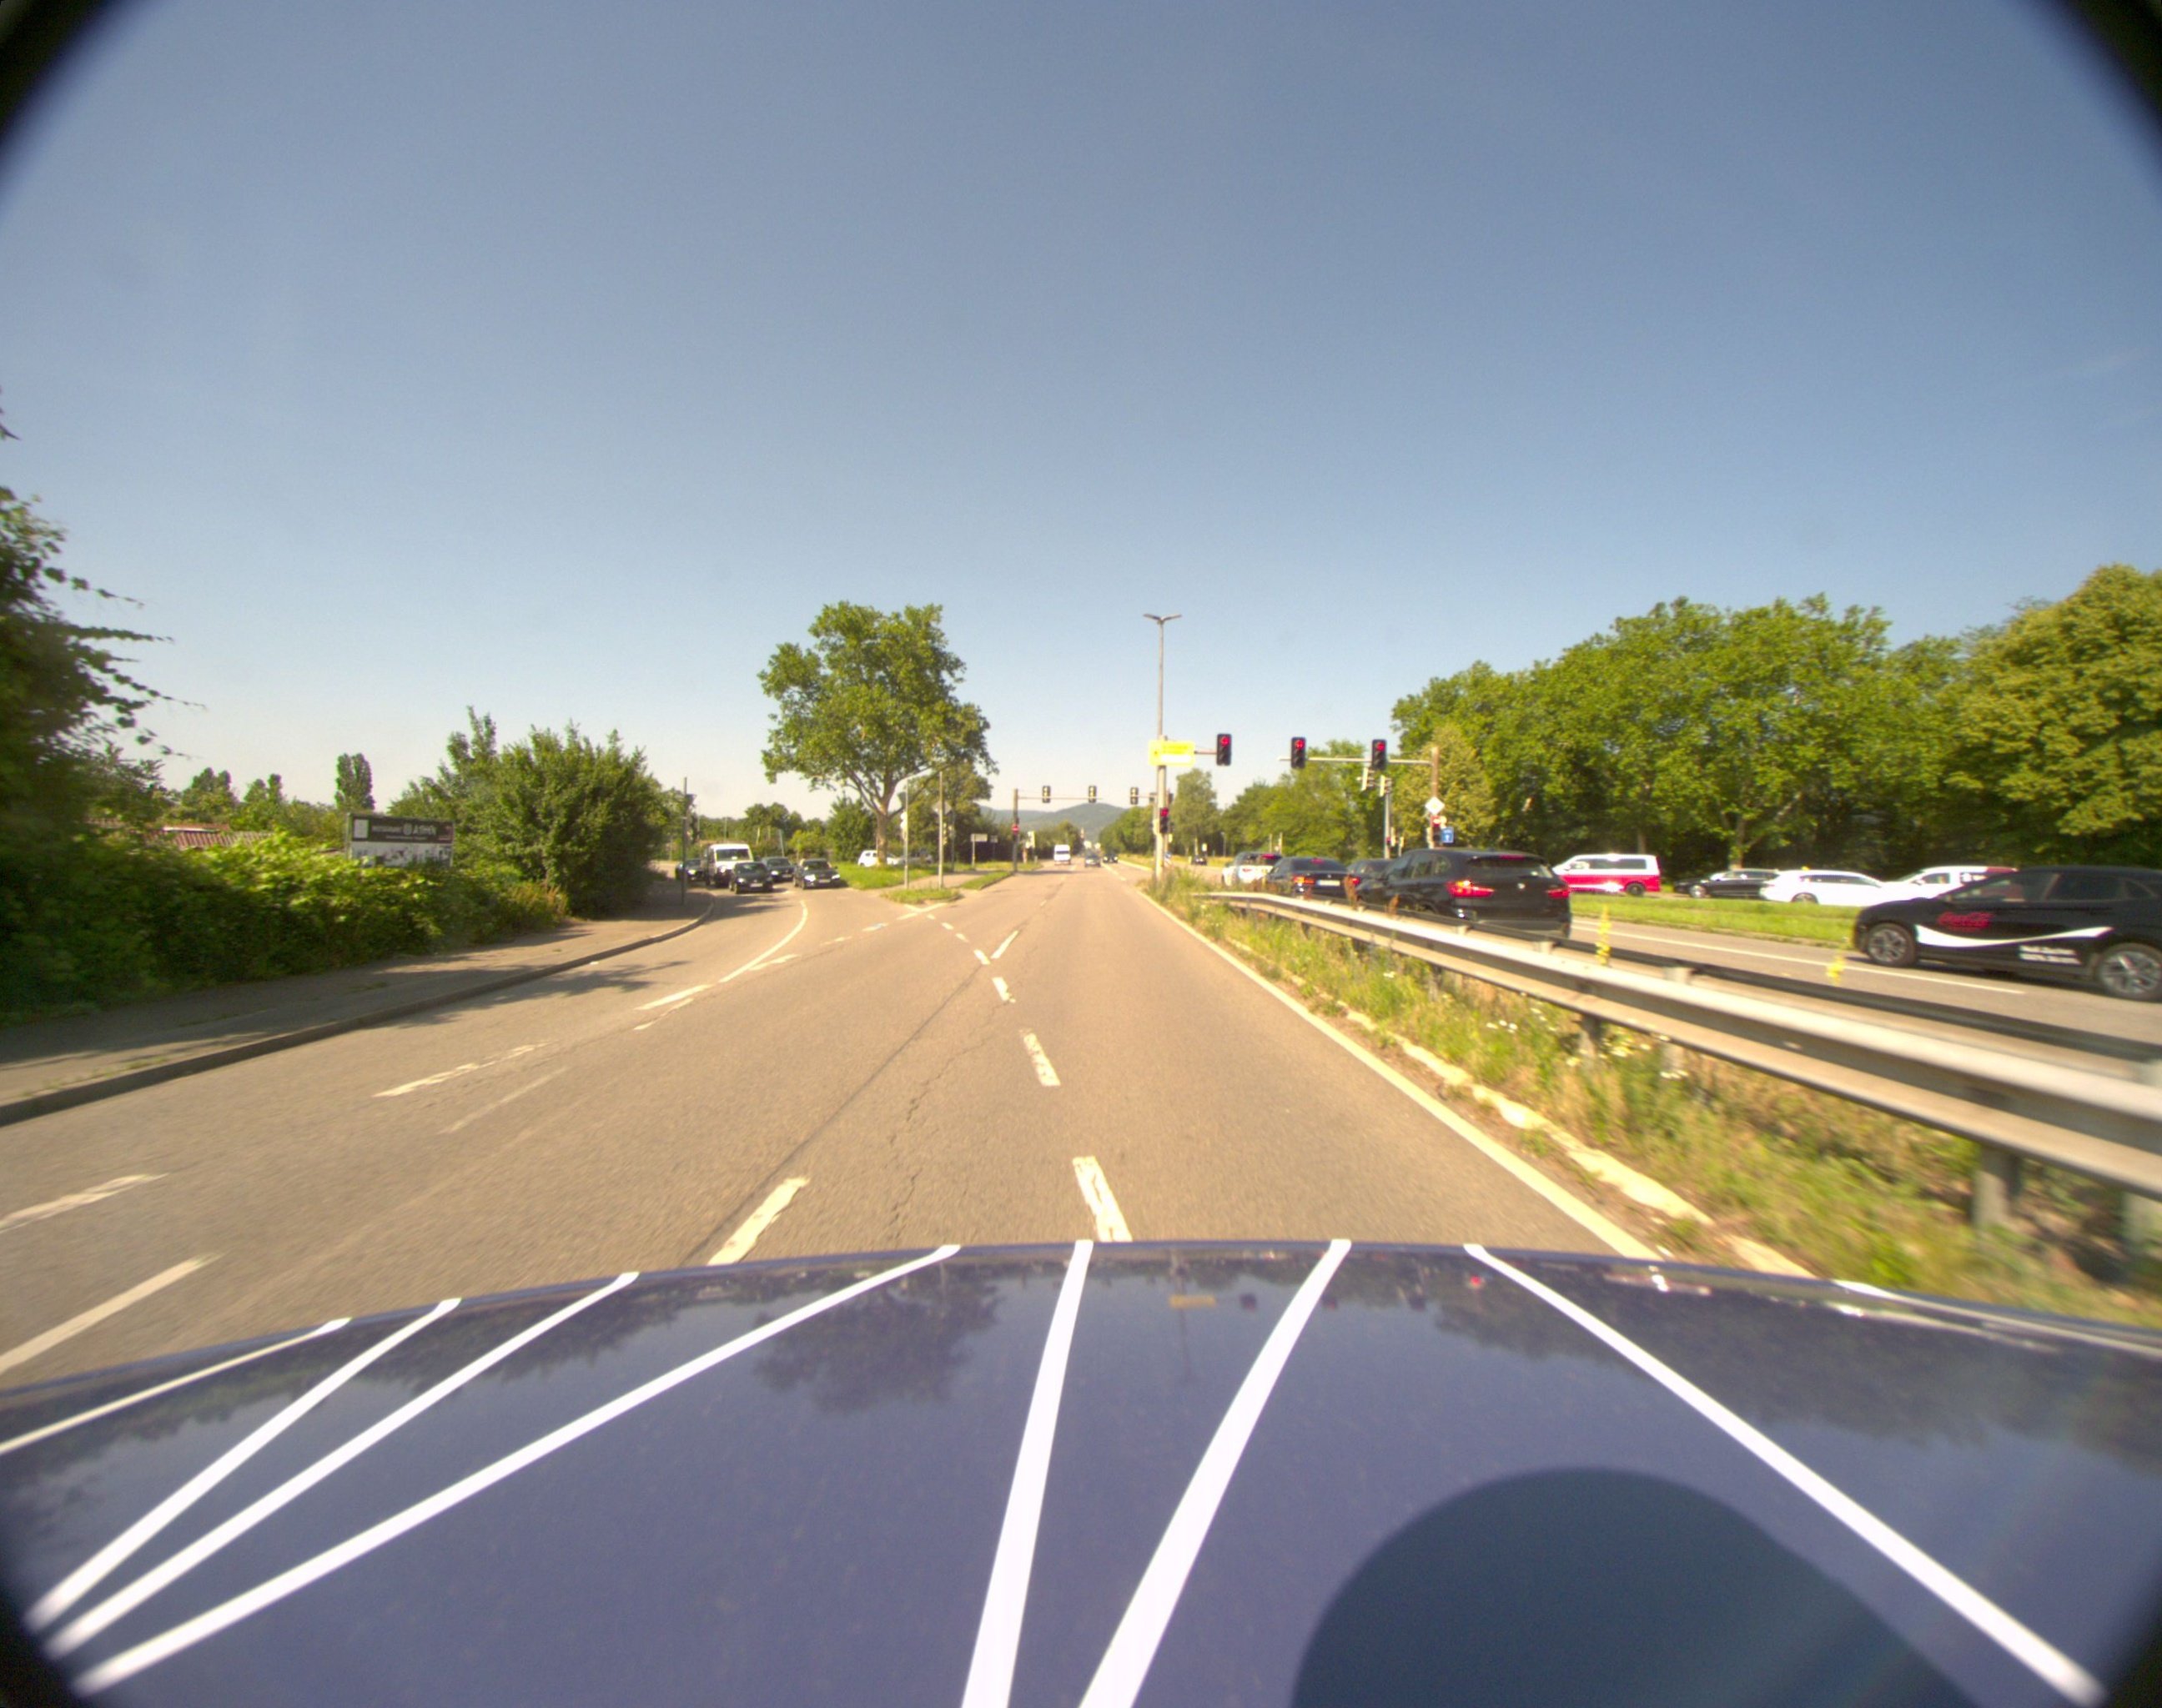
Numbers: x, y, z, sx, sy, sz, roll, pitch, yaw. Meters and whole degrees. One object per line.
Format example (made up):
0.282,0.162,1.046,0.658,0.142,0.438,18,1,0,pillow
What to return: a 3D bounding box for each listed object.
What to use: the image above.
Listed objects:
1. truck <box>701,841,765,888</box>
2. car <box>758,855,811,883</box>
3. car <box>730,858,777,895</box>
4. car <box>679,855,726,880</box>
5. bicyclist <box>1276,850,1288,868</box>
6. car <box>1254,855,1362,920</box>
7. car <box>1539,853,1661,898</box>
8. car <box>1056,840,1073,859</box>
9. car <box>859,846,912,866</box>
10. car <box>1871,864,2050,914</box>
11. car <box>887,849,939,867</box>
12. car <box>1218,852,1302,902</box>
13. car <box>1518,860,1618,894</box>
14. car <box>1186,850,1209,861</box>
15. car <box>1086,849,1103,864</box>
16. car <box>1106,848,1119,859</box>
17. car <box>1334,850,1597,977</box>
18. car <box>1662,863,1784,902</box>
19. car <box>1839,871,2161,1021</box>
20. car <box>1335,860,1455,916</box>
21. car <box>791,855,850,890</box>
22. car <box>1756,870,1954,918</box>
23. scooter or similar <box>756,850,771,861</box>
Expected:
-19.386,0.463,42.092,2.349,2.373,6.458,-2,2,-32,truck
-17.539,0.825,44.814,2.003,1.519,4.457,-1,1,-33,car
-15.670,1.024,36.241,1.623,1.539,3.815,-3,2,-29,car
-24.253,0.829,48.662,1.894,1.412,3.988,-3,3,-38,car
16.803,0.422,63.545,0.848,1.509,0.747,0,1,6,bicyclist
6.011,0.816,20.724,1.820,1.476,4.895,2,0,5,car
24.658,0.964,36.231,4.641,1.939,2.004,1,1,36,car
-2.064,-0.601,97.306,1.998,2.433,5.088,-1,1,1,car
-15.009,0.159,58.423,3.745,1.461,1.789,0,1,29,car
36.349,1.396,31.625,4.493,1.790,2.009,2,1,36,car
-16.820,0.420,76.014,4.693,1.670,1.902,0,1,-40,car
6.189,0.752,26.777,2.015,1.600,4.211,1,0,1,car
25.497,1.150,39.805,4.255,1.597,2.009,2,1,36,car
16.334,0.181,106.471,2.000,1.487,4.280,0,2,-7,car
1.393,0.224,78.612,1.678,1.435,4.361,-1,1,1,car
4.273,-0.127,102.294,1.678,1.435,3.621,-1,1,1,car
5.822,0.773,12.297,1.851,1.585,4.616,2,1,0,car
30.447,1.316,36.221,4.255,1.597,2.009,2,1,36,car
12.765,1.091,9.799,1.851,1.545,4.087,3,0,1,car
9.271,0.938,22.867,1.935,1.429,4.267,1,0,2,car
-13.261,0.889,38.532,2.003,1.538,4.605,-1,1,-29,car
28.950,1.435,28.705,4.955,1.456,1.822,2,1,37,car
-34.317,0.153,82.138,1.385,1.111,0.499,-1,1,-18,scooter or similar
